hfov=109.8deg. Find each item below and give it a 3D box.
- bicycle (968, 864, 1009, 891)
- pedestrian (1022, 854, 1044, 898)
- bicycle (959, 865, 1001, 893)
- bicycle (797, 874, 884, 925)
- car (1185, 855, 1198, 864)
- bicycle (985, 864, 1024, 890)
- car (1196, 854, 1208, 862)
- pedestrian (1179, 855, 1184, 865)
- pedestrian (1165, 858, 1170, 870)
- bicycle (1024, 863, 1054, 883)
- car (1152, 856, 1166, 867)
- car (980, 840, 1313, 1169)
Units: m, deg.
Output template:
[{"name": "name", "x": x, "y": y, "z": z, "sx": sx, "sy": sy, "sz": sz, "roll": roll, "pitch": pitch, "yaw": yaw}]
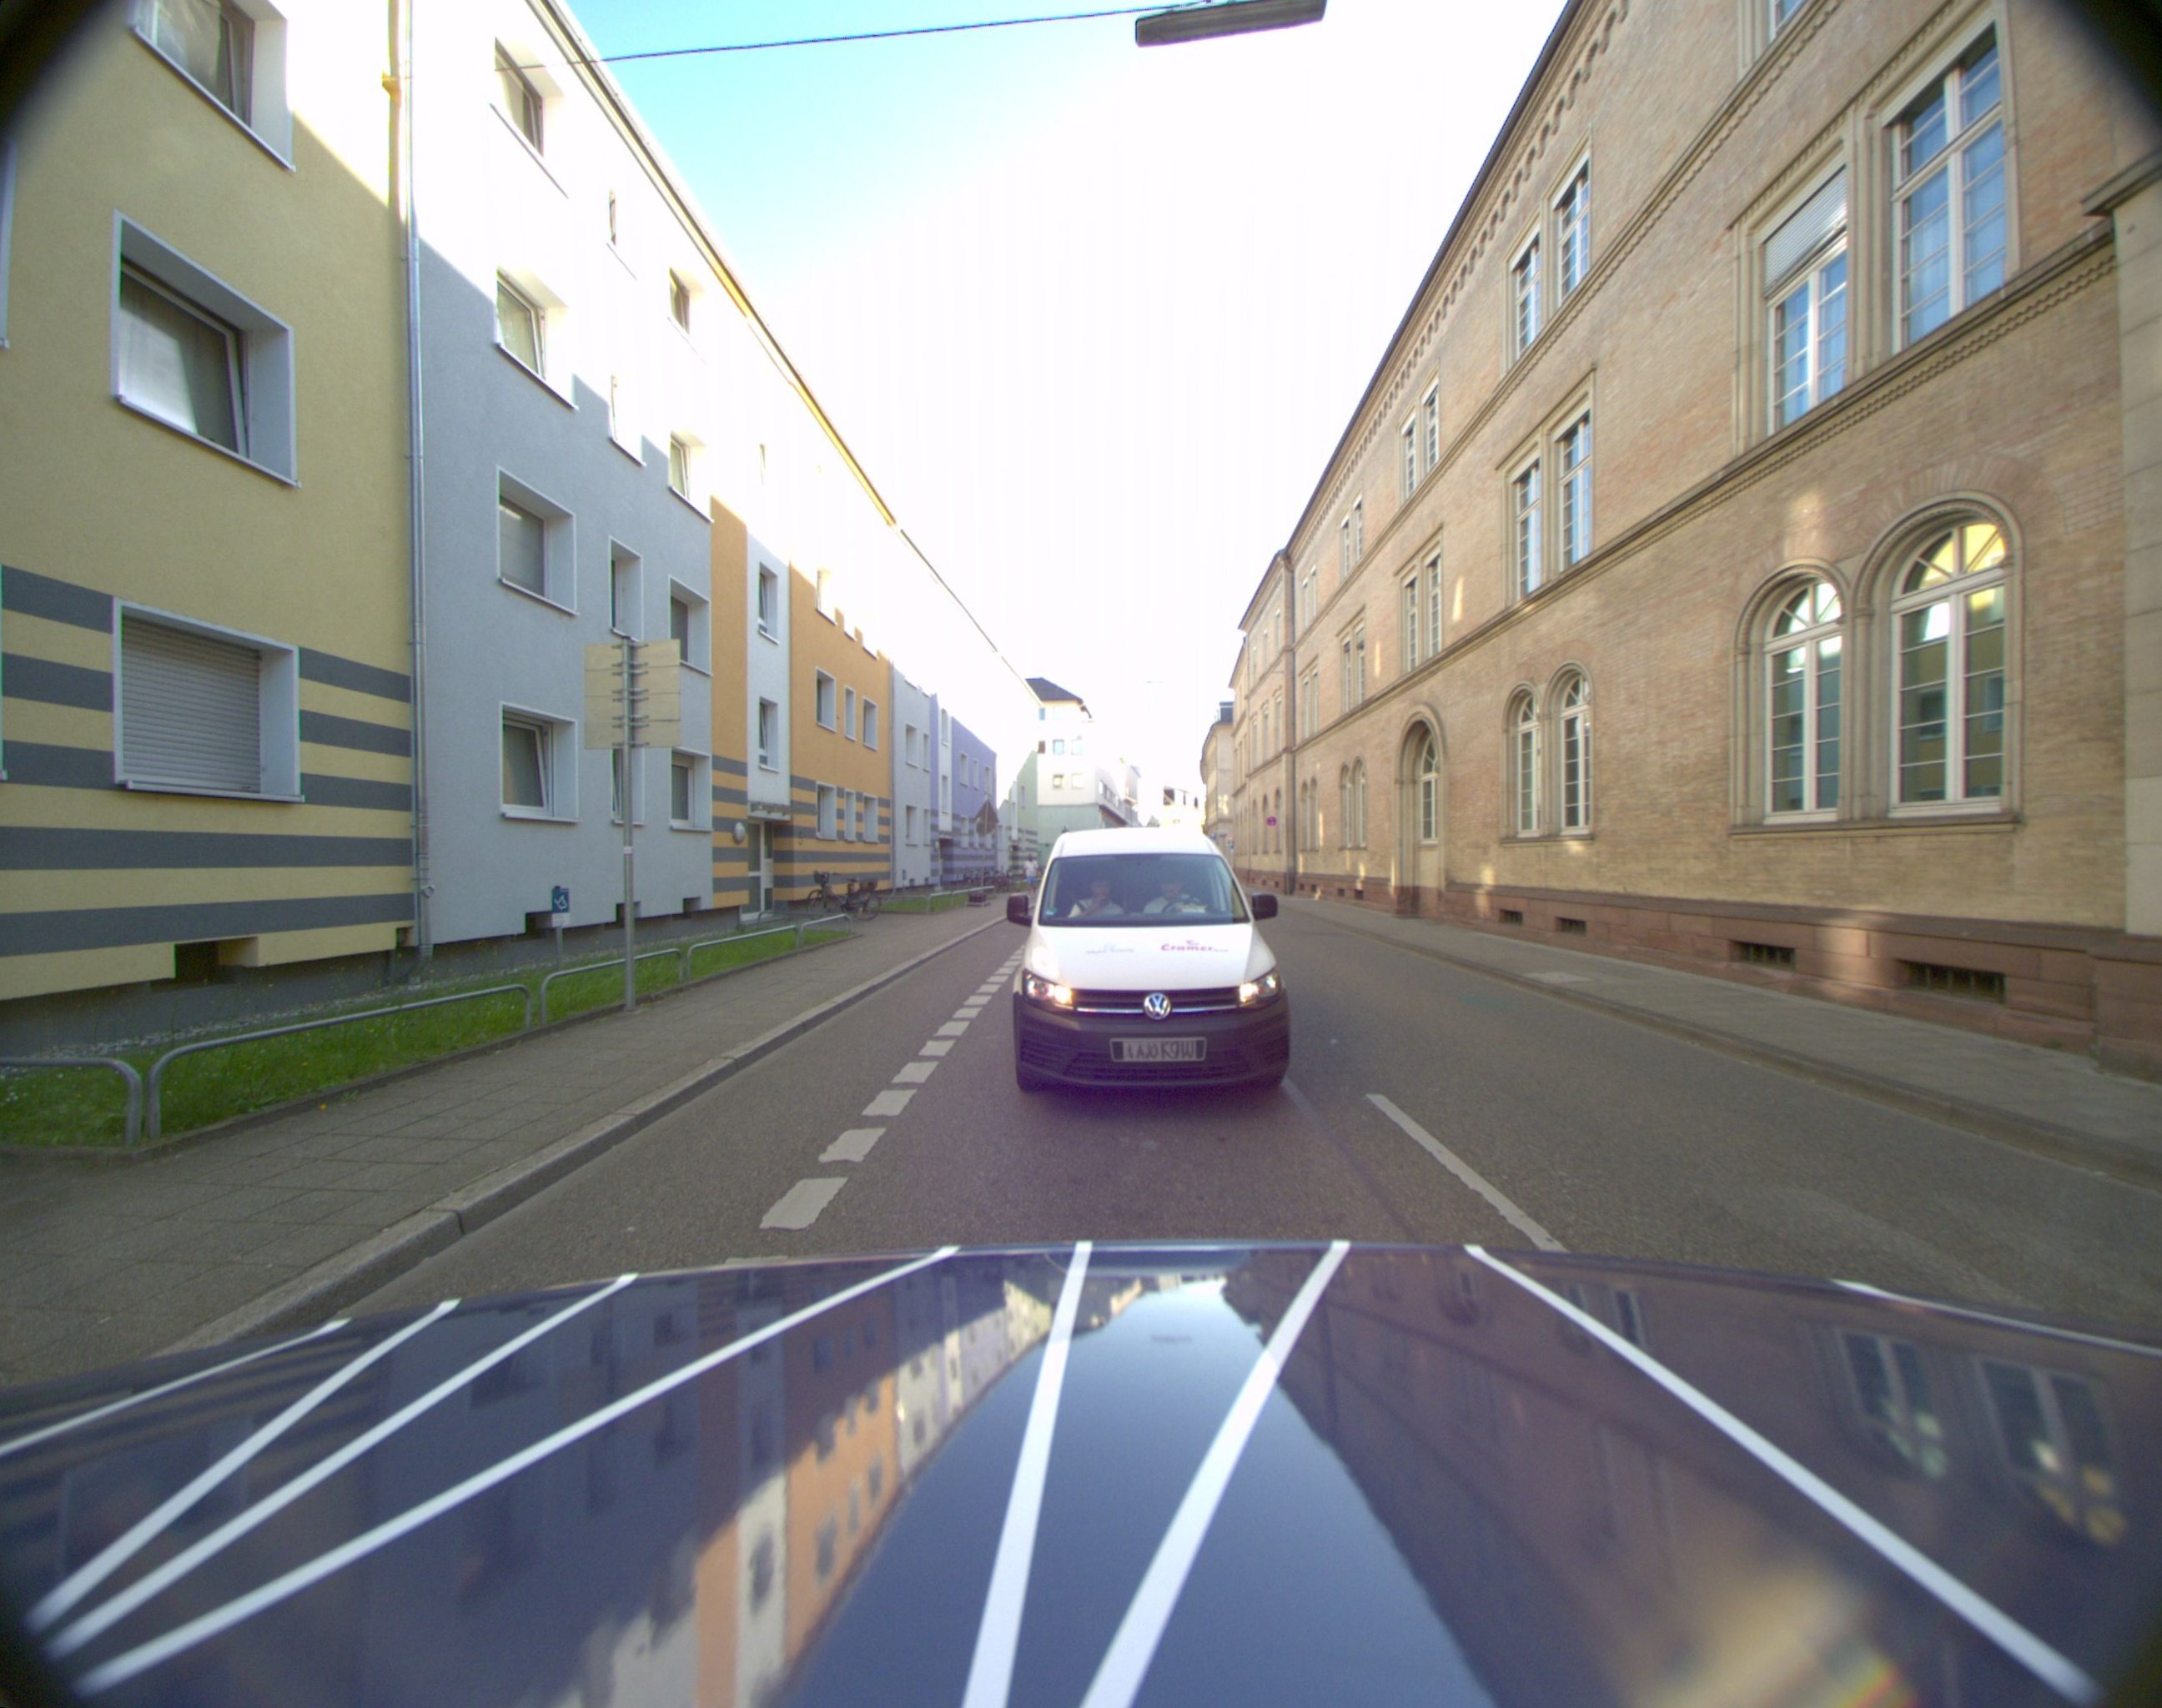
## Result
[{"name": "bicycle", "x": -4.037, "y": 1.021, "z": 33.134, "sx": 1.676, "sy": 1.145, "sz": 0.484, "roll": 0, "pitch": 0, "yaw": 4}, {"name": "pedestrian", "x": -1.865, "y": 0.846, "z": 29.649, "sx": 0.705, "sy": 1.627, "sz": 0.833, "roll": 2, "pitch": 2, "yaw": 5}, {"name": "bicycle", "x": -4.242, "y": 1.048, "z": 31.841, "sx": 1.676, "sy": 1.145, "sz": 0.484, "roll": 0, "pitch": 0, "yaw": 4}, {"name": "bicycle", "x": -5.391, "y": 1.015, "z": 17.104, "sx": 1.780, "sy": 1.116, "sz": 0.484, "roll": 0, "pitch": 0, "yaw": -5}, {"name": "car", "x": 22.099, "y": 1.091, "z": 152.023, "sx": 1.996, "sy": 1.643, "sz": 4.233, "roll": -2, "pitch": 1, "yaw": 17}, {"name": "bicycle", "x": -3.378, "y": 1.005, "z": 33.680, "sx": 1.676, "sy": 1.145, "sz": 0.484, "roll": 0, "pitch": 0, "yaw": 4}, {"name": "car", "x": 26.082, "y": 0.808, "z": 163.754, "sx": 1.996, "sy": 1.643, "sz": 4.233, "roll": -2, "pitch": 1, "yaw": 17}, {"name": "pedestrian", "x": 17.065, "y": 1.079, "z": 129.404, "sx": 0.704, "sy": 1.627, "sz": 0.833, "roll": 3, "pitch": 2, "yaw": 14}, {"name": "pedestrian", "x": 12.681, "y": 1.449, "z": 111.277, "sx": 0.705, "sy": 1.627, "sz": 0.833, "roll": 3, "pitch": 2, "yaw": 12}, {"name": "bicycle", "x": -2.522, "y": 1.155, "z": 46.051, "sx": 1.779, "sy": 1.145, "sz": 0.484, "roll": 0, "pitch": 0, "yaw": 0}, {"name": "car", "x": 12.638, "y": 1.197, "z": 122.700, "sx": 1.997, "sy": 1.643, "sz": 4.231, "roll": -2, "pitch": 1, "yaw": 9}, {"name": "car", "x": 0.390, "y": 0.782, "z": 6.751, "sx": 1.769, "sy": 1.761, "sz": 5.331, "roll": -1, "pitch": 1, "yaw": 1}]
